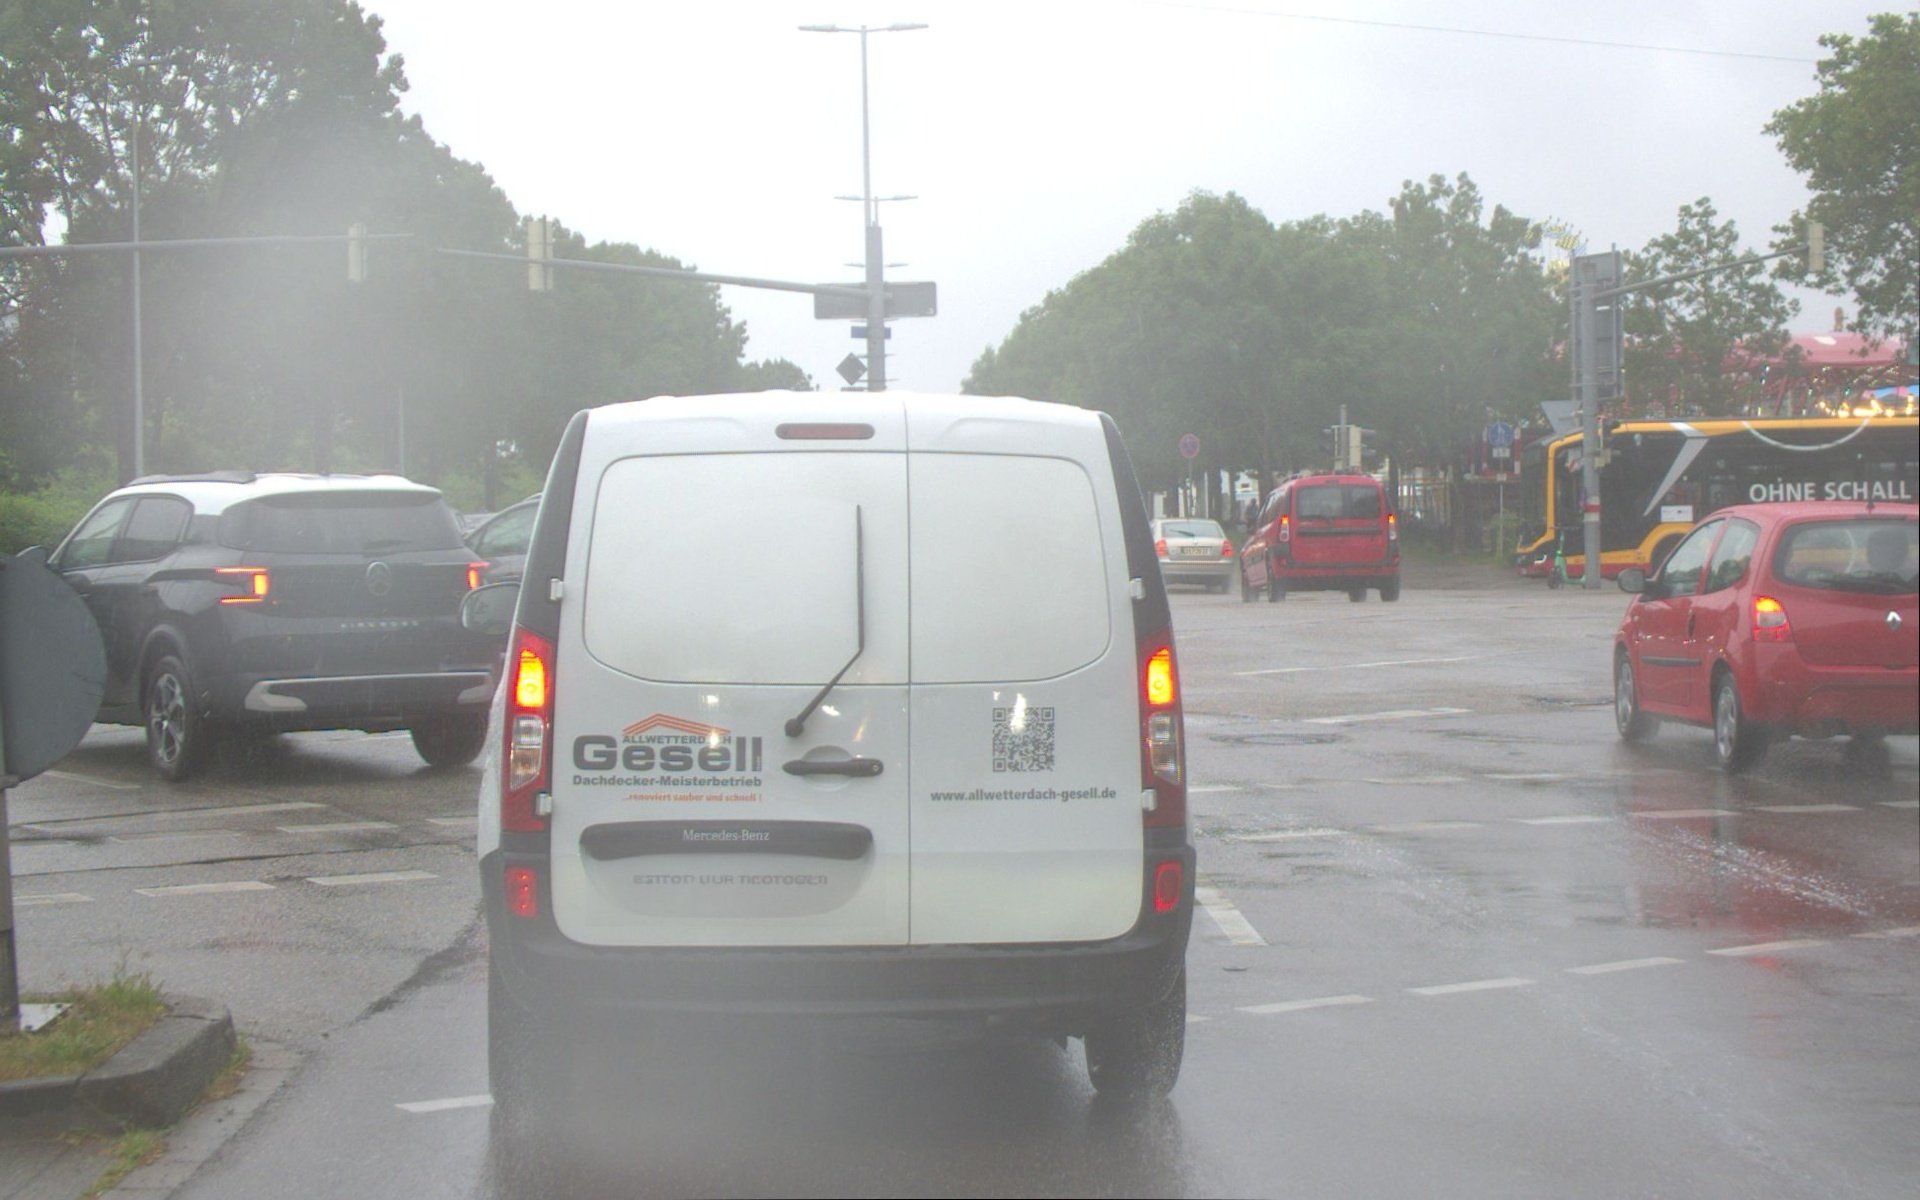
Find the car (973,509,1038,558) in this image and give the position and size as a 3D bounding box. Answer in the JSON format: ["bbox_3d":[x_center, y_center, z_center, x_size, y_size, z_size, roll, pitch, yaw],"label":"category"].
[{"bbox_3d":[1.543,-2.297,117.718,1.996,1.612,4.001,-1,2,-2],"label":"car"}]

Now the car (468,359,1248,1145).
[{"bbox_3d":[-0.446,0.297,9.823,1.755,1.771,4.001,1,2,-6],"label":"car"}]

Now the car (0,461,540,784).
[{"bbox_3d":[-4.120,0.052,19.433,1.917,1.603,4.000,-2,2,-32],"label":"car"}]

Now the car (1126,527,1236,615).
[{"bbox_3d":[4.252,-0.594,66.722,1.842,1.612,4.000,1,2,0],"label":"car"}]

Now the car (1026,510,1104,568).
[{"bbox_3d":[3.058,-1.797,100.907,1.996,1.612,4.001,-1,2,-2],"label":"car"}]

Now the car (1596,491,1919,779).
[{"bbox_3d":[4.846,0.129,19.565,1.678,1.486,3.622,0,2,-2],"label":"car"}]

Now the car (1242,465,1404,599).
[{"bbox_3d":[4.712,-0.906,44.998,1.632,1.650,3.485,1,2,-2],"label":"car"}]

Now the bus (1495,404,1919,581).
[{"bbox_3d":[16.970,-2.163,67.814,12.248,3.257,3.275,-1,2,-2],"label":"bus"}]
